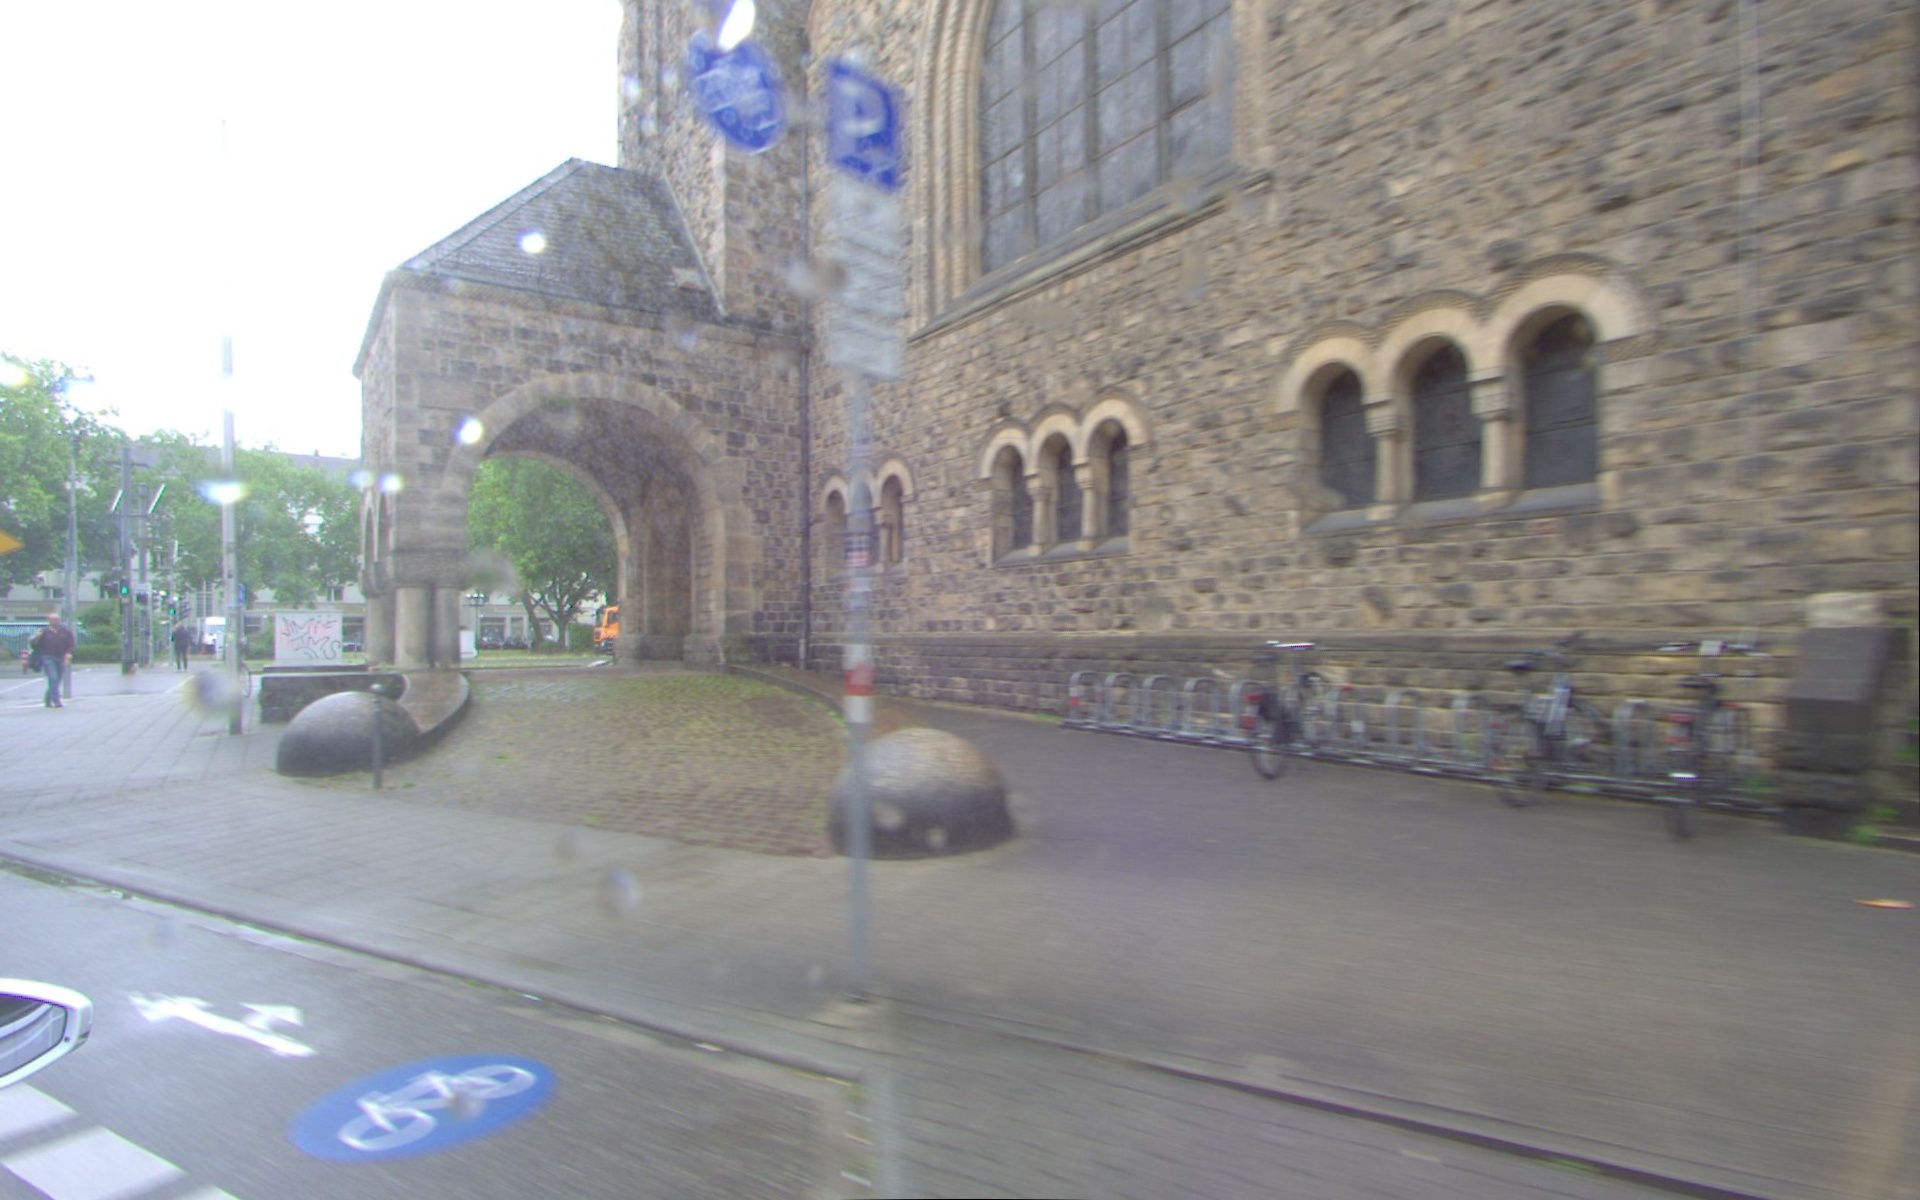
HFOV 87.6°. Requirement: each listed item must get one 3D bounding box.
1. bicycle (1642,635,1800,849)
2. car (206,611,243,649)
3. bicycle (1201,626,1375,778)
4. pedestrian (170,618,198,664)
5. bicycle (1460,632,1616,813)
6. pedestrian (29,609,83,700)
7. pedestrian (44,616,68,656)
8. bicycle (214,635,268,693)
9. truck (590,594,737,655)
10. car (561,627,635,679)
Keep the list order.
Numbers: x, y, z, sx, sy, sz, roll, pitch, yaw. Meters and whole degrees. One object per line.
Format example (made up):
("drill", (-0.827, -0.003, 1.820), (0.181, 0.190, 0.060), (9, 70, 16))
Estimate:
("bicycle", (4.809, 0.799, 6.276), (1.971, 1.068, 0.507), (-2, 0, -45))
("car", (-52.337, 2.122, 71.303), (1.888, 2.588, 4.757), (0, -1, -34))
("bicycle", (2.935, 0.829, 8.829), (0.684, 1.119, 1.973), (-2, 0, 42))
("pedestrian", (-29.007, 1.526, 37.428), (0.775, 1.667, 0.651), (-1, 0, -34))
("bicycle", (4.313, 0.840, 7.417), (1.697, 1.126, 0.556), (-2, 0, -45))
("pedestrian", (-18.163, 1.075, 20.119), (0.780, 1.782, 0.936), (0, 0, -43))
("pedestrian", (-45.912, 1.834, 50.874), (0.797, 2.040, 0.586), (0, 0, -32))
("bicycle", (-15.060, 1.317, 20.950), (2.049, 1.169, 0.327), (-1, -1, 37))
("truck", (-18.084, 1.496, 61.433), (8.330, 3.570, 2.361), (1, -1, -35))
("car", (-11.129, 1.575, 30.682), (1.389, 1.498, 3.200), (0, -2, -34))
